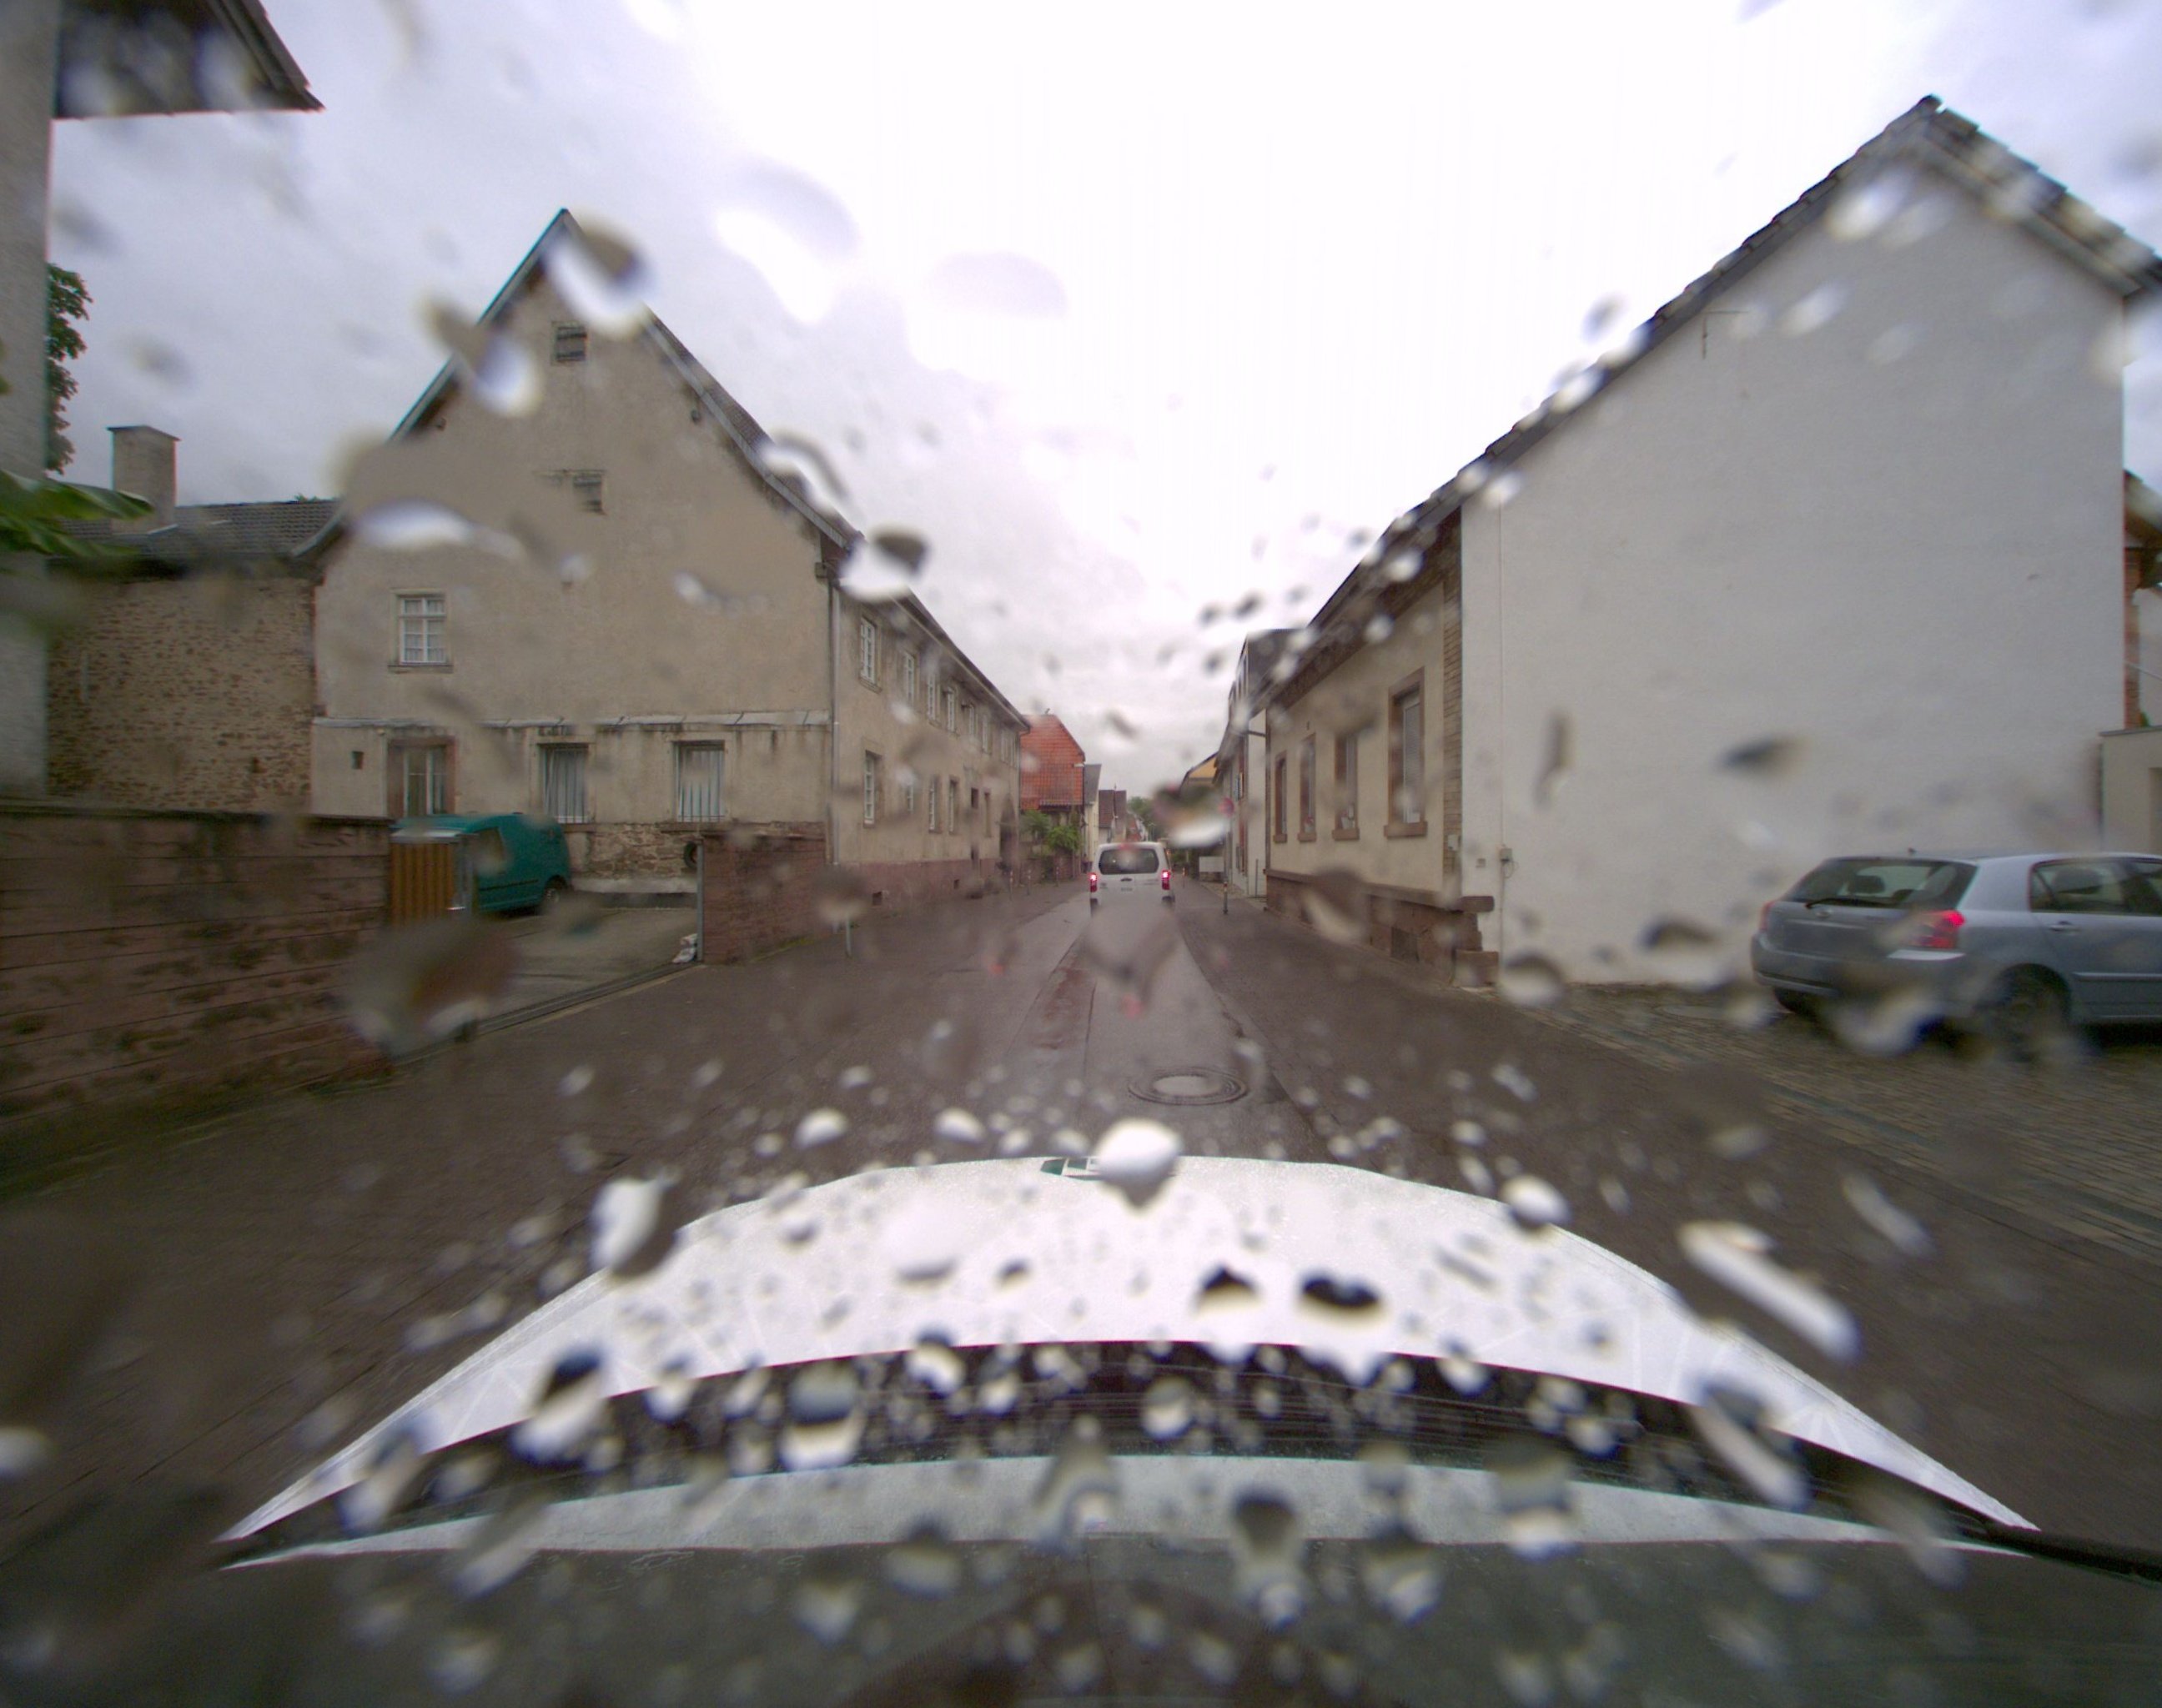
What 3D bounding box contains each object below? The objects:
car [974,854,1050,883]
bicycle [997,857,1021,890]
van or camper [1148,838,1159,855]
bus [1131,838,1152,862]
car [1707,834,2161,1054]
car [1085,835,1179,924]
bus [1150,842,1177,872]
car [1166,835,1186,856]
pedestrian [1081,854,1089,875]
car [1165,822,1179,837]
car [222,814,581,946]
[{"bbox_3d":[-3.445,0.712,40.959,3.508,1.376,1.598,0,0,7],"label":"car"},{"bbox_3d":[-2.695,0.726,30.476,0.480,1.180,1.839,1,-1,7],"label":"bicycle"},{"bbox_3d":[13.166,-1.309,148.336,1.825,2.925,5.373,1,-1,7],"label":"van or camper"},{"bbox_3d":[8.933,-0.571,119.150,2.780,3.329,8.189,2,0,5],"label":"bus"},{"bbox_3d":[7.672,0.643,6.586,3.886,1.498,1.850,1,-1,-3],"label":"car"},{"bbox_3d":[1.291,0.559,19.020,1.784,1.819,4.111,-2,-1,8],"label":"car"},{"bbox_3d":[9.355,0.392,92.720,2.780,3.180,8.189,2,0,5],"label":"bus"},{"bbox_3d":[9.310,-0.794,80.274,1.818,2.014,3.699,1,-1,5],"label":"car"},{"bbox_3d":[0.296,0.739,59.186,0.566,1.530,0.568,-1,-1,-4],"label":"pedestrian"},{"bbox_3d":[13.363,-3.637,119.420,1.983,2.014,4.007,1,-1,6],"label":"car"},{"bbox_3d":[-10.201,0.240,12.810,1.980,1.715,4.305,0,3,-1],"label":"car"}]
